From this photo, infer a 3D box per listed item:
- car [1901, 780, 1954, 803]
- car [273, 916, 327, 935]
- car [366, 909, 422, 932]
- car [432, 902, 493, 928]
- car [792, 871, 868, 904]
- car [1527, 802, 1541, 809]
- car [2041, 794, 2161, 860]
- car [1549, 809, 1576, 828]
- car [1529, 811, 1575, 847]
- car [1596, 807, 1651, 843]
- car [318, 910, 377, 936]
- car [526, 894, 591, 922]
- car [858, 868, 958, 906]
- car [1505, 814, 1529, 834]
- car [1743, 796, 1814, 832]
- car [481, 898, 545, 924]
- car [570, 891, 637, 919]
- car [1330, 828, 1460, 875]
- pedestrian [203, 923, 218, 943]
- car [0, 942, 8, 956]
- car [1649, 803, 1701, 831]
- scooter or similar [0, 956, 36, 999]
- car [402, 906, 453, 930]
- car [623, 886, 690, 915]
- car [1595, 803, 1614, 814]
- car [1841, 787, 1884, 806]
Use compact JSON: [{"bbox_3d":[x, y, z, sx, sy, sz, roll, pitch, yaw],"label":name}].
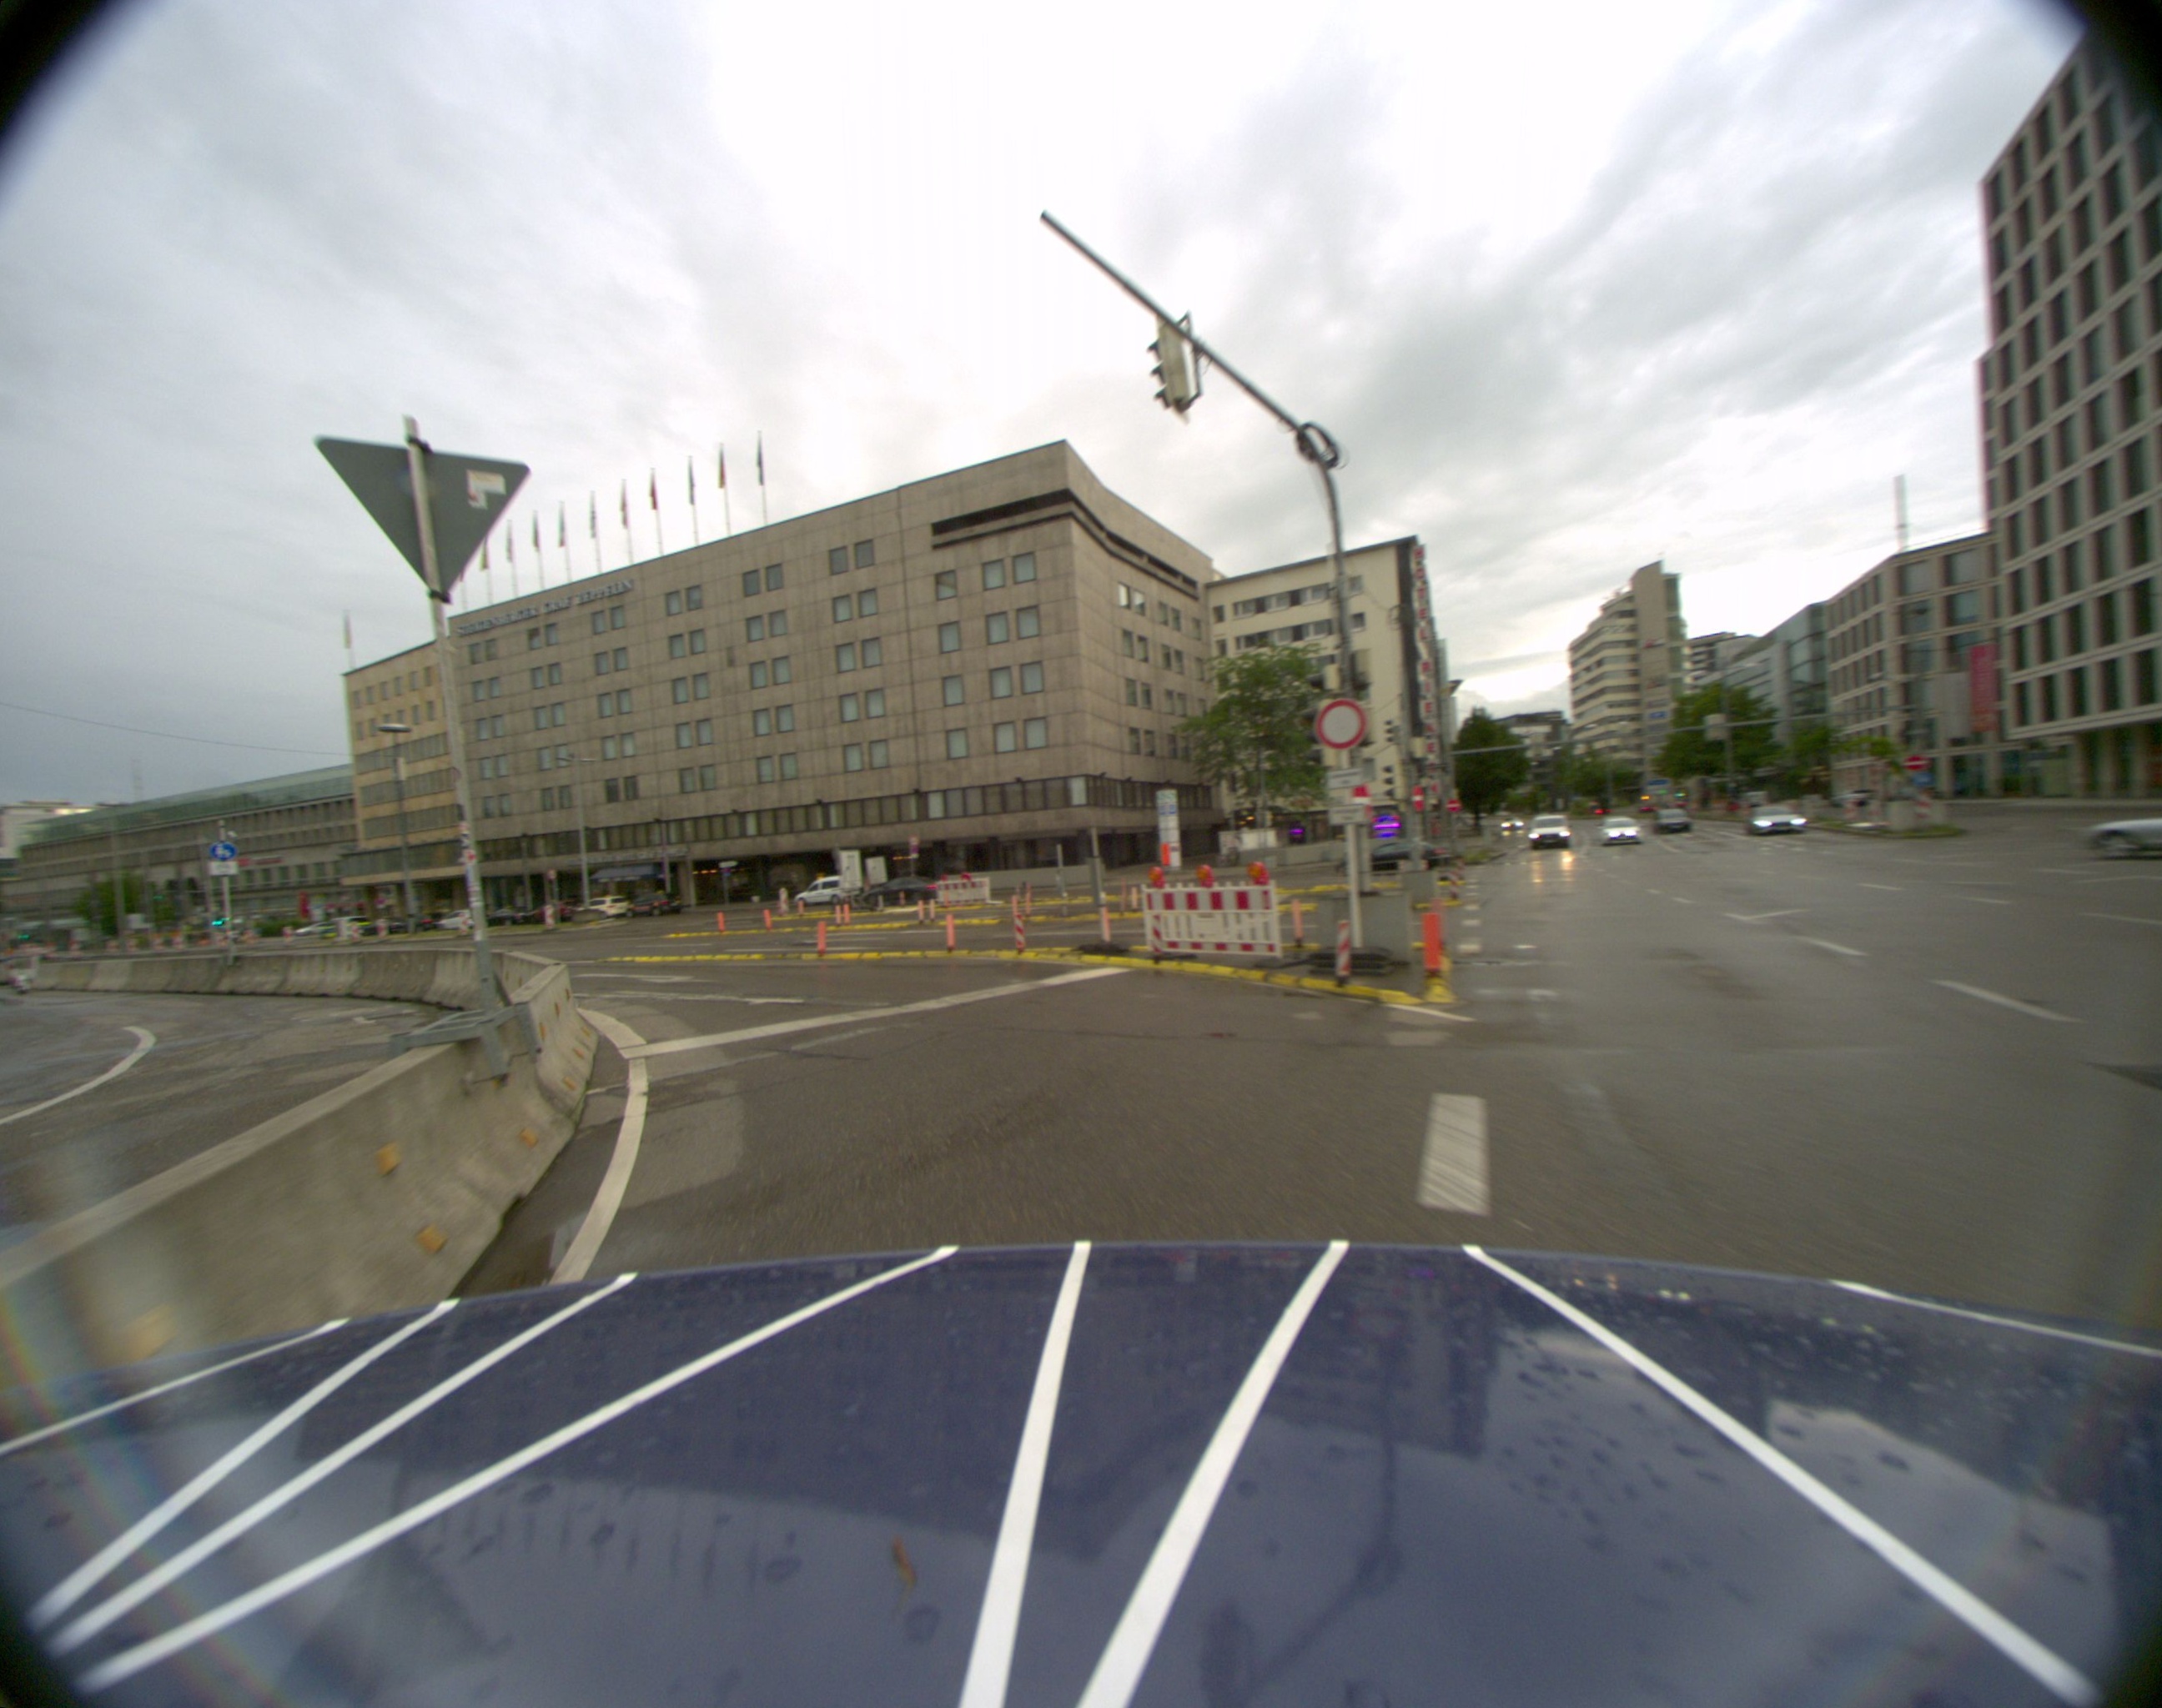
[{"bbox_3d":[65.944,-4.846,59.283,1.862,1.514,4.007,-4,0,35],"label":"car"},{"bbox_3d":[-93.544,8.558,91.070,1.802,1.630,4.100,-4,0,28],"label":"car"},{"bbox_3d":[-61.195,5.927,67.649,4.555,1.612,1.762,-4,0,22],"label":"car"},{"bbox_3d":[-51.564,5.082,63.306,4.701,1.748,1.762,-4,0,22],"label":"car"},{"bbox_3d":[-16.084,2.164,48.653,4.362,1.752,1.782,-5,1,23],"label":"car"},{"bbox_3d":[117.326,-12.507,196.849,1.848,1.589,4.185,-5,0,16],"label":"car"},{"bbox_3d":[22.595,-0.585,14.923,1.642,1.302,4.529,-5,0,-1],"label":"car"},{"bbox_3d":[40.131,-2.951,63.412,1.668,1.475,3.491,-4,0,29],"label":"car"},{"bbox_3d":[27.925,-1.509,44.972,2.082,1.893,5.093,-4,0,33],"label":"car"},{"bbox_3d":[30.184,-1.634,42.415,2.013,1.728,4.671,-4,0,30],"label":"car"},{"bbox_3d":[-68.307,6.448,70.752,5.065,1.917,1.909,-5,0,22],"label":"car"},{"bbox_3d":[-40.480,4.198,58.863,4.636,1.757,1.911,-4,1,25],"label":"car"},{"bbox_3d":[-8.824,1.689,38.715,4.652,1.589,2.021,-5,0,27],"label":"car"},{"bbox_3d":[48.615,-3.385,84.746,1.919,2.002,4.007,-4,0,34],"label":"car"},{"bbox_3d":[35.980,-2.059,39.319,2.013,1.589,4.671,-4,0,35],"label":"car"},{"bbox_3d":[-45.632,4.598,61.052,4.607,1.650,1.911,-5,1,23],"label":"car"},{"bbox_3d":[-35.654,3.816,56.707,4.568,1.688,1.824,-4,1,23],"label":"car"},{"bbox_3d":[13.233,-0.079,32.149,4.651,1.589,2.022,-4,0,37],"label":"car"},{"bbox_3d":[-91.973,8.347,80.261,0.805,2.002,0.706,-4,1,23],"label":"pedestrian"},{"bbox_3d":[-140.212,12.330,97.613,4.490,1.659,1.783,-5,0,24],"label":"car"},{"bbox_3d":[38.743,-2.396,49.690,2.013,1.589,4.671,-4,0,30],"label":"car"},{"bbox_3d":[-33.418,3.842,23.761,1.568,1.207,0.678,-5,1,32],"label":"scooter or similar"},{"bbox_3d":[-56.257,5.532,65.394,4.219,1.671,1.762,-5,0,26],"label":"car"},{"bbox_3d":[-30.521,3.351,54.642,4.504,1.718,1.824,-4,1,25],"label":"car"},{"bbox_3d":[88.502,-7.684,128.403,1.847,1.589,4.187,-4,0,25],"label":"car"},{"bbox_3d":[71.565,-5.261,69.636,1.863,1.514,4.007,-4,0,33],"label":"car"}]
